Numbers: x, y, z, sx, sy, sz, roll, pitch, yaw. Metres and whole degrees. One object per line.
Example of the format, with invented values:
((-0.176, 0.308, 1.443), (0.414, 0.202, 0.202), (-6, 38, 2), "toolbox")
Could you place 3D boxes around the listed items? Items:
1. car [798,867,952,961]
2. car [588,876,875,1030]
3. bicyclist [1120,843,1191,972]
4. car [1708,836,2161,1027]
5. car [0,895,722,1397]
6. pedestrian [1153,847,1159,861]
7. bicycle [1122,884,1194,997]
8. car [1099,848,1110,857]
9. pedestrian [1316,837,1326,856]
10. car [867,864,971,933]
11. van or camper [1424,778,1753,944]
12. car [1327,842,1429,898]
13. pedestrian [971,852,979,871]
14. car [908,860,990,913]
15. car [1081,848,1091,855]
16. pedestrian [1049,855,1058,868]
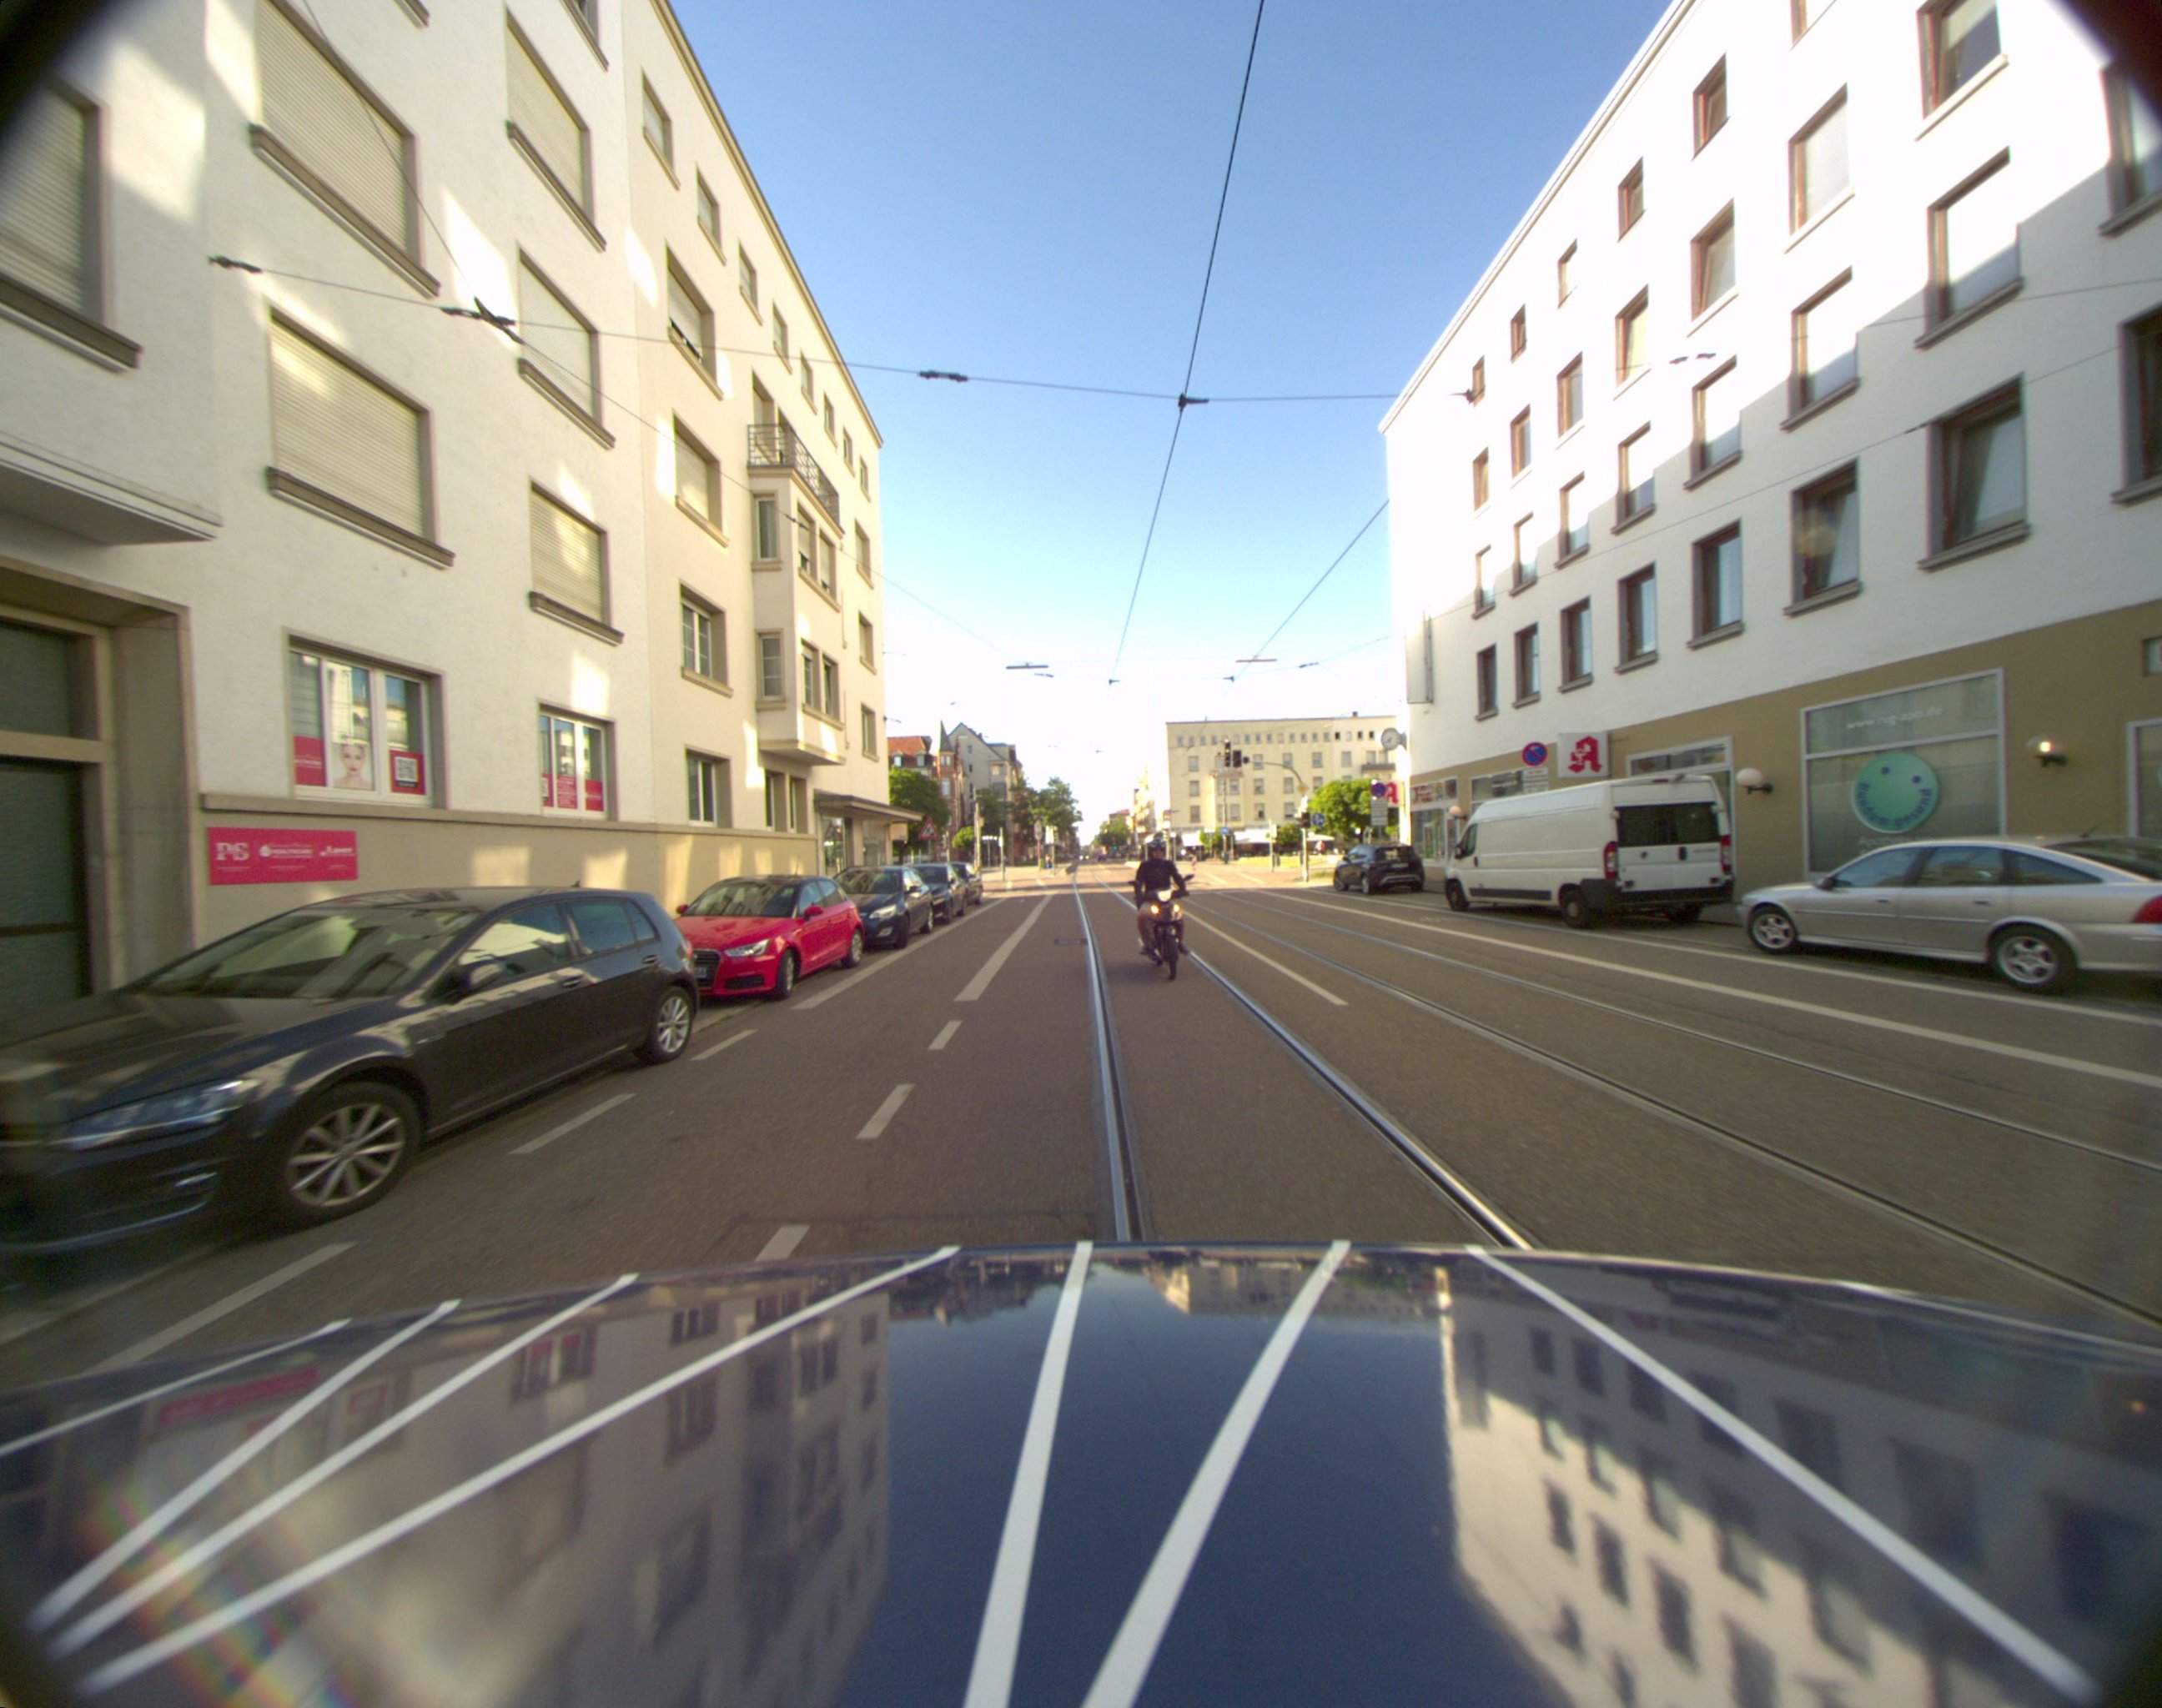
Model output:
((-3.942, 1.076, 15.270), (1.862, 1.499, 4.095), (1, 1, 2), "car")
((-4.259, 1.112, 10.066), (1.862, 1.464, 3.988), (1, 1, 2), "car")
((0.913, 0.638, 9.554), (0.774, 1.531, 0.939), (-2, 1, 2), "bicyclist")
((9.303, 0.572, 7.984), (1.787, 1.390, 4.445), (-4, 0, 2), "car")
((-4.186, 1.105, 4.748), (1.714, 1.399, 4.358), (1, 1, 2), "car")
((7.901, -0.019, 80.027), (0.551, 1.482, 0.610), (-2, 1, -6), "pedestrian")
((0.927, 1.027, 9.549), (0.767, 1.192, 1.752), (-2, 1, 3), "bicycle")
((4.621, -0.280, 148.303), (1.970, 1.577, 4.000), (-2, 0, 2), "car")
((22.413, -0.686, 71.066), (0.667, 1.686, 0.839), (-2, 1, 3), "pedestrian")
((-4.059, 1.058, 19.779), (1.862, 1.499, 4.505), (1, 1, -2), "car")
((9.344, 0.092, 14.988), (2.177, 2.453, 6.231), (-4, 0, 0), "van or camper")
((9.545, 0.465, 24.752), (1.787, 1.543, 3.992), (-4, 0, 2), "car")
((-10.606, 0.744, 76.309), (0.650, 1.944, 0.583), (-2, 1, -16), "pedestrian")
((-4.276, 1.009, 25.430), (1.752, 1.499, 4.919), (1, 1, 2), "car")
((1.136, -0.590, 170.800), (1.971, 1.577, 4.000), (-2, 0, 1), "car")
((-2.604, 0.697, 72.571), (0.774, 1.197, 0.610), (-2, 1, -8), "pedestrian")
